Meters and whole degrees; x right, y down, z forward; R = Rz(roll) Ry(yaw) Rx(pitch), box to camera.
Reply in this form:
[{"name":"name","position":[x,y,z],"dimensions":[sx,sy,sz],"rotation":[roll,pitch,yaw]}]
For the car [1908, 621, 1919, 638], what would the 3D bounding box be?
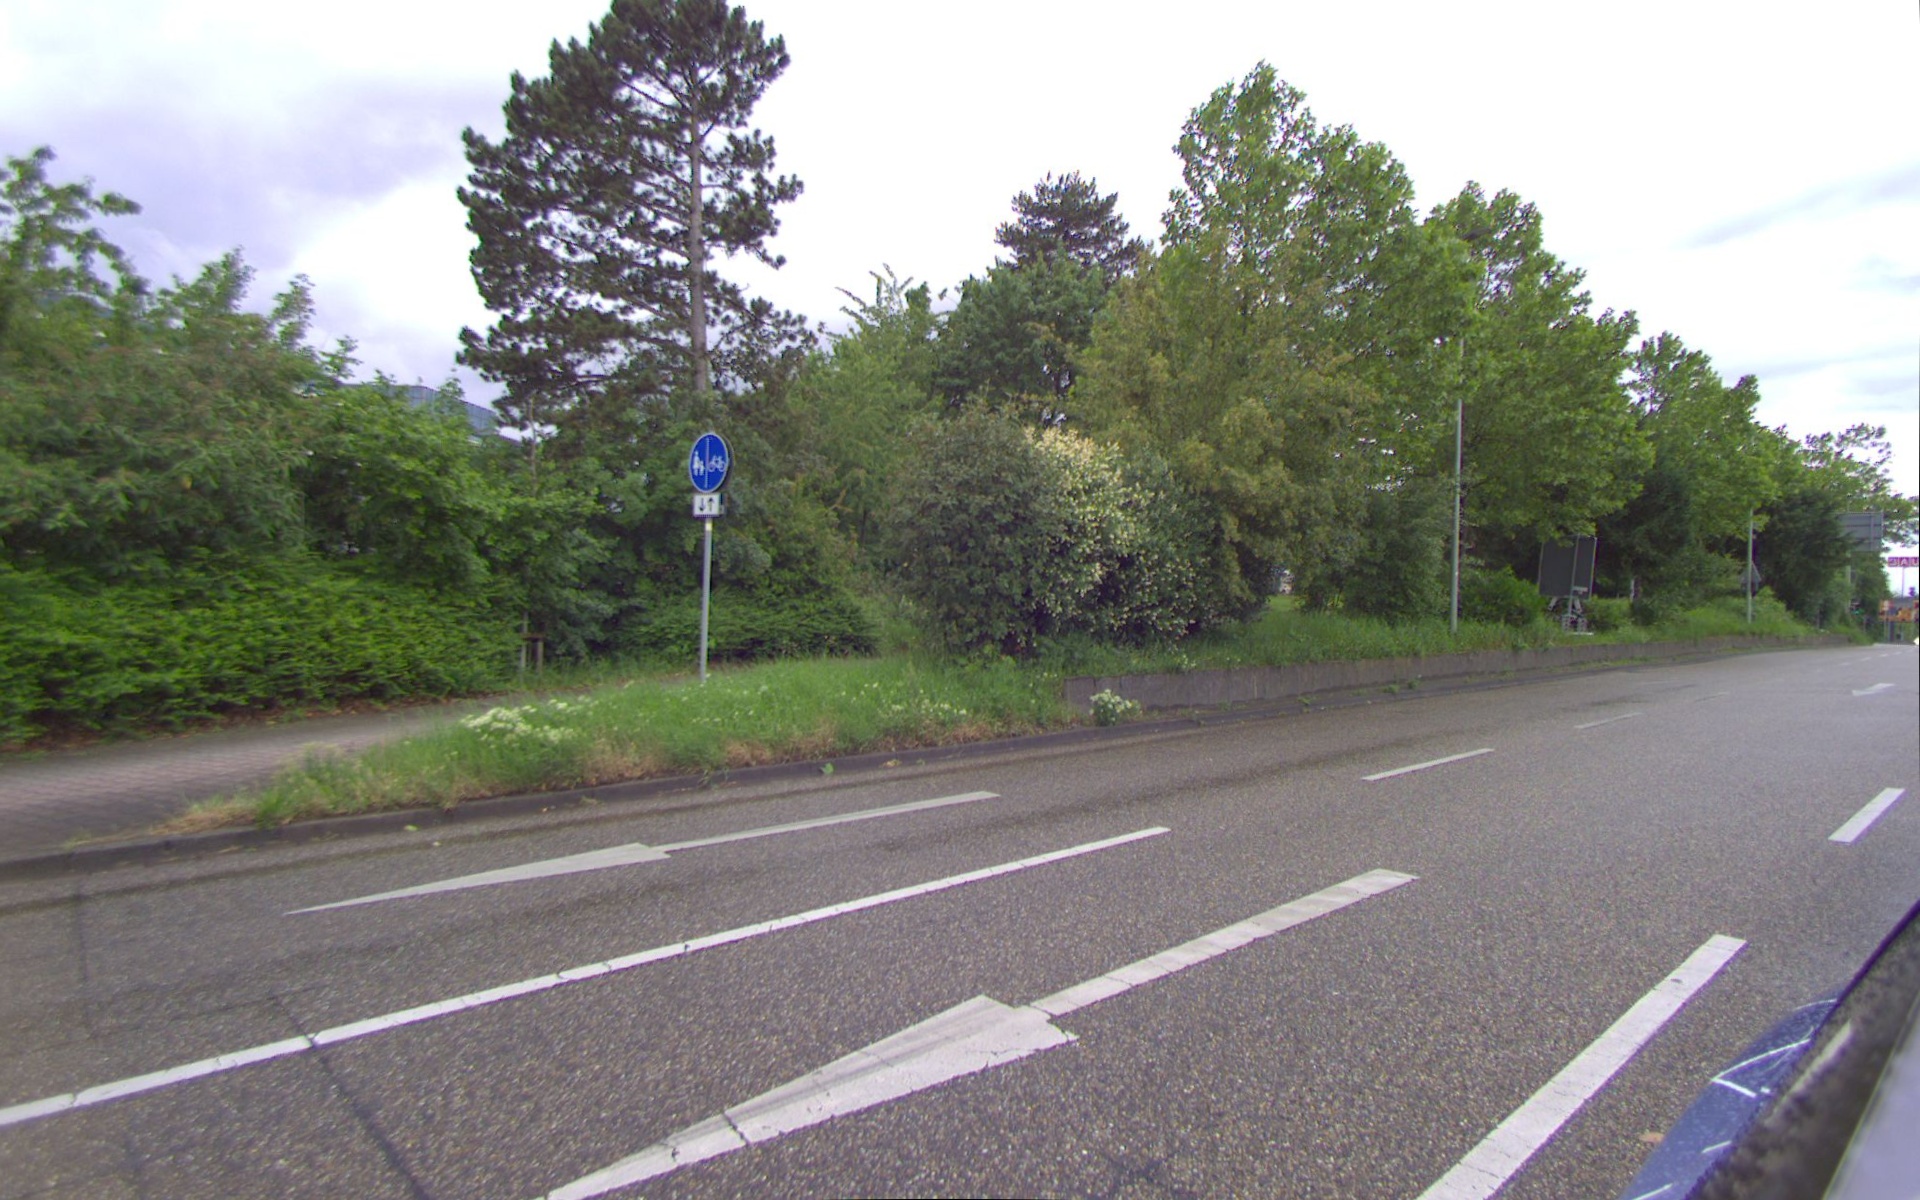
[{"name":"car","position":[109.948,3.357,115.987],"dimensions":[3.935,1.750,1.808],"rotation":[-1,0,-45]}]
